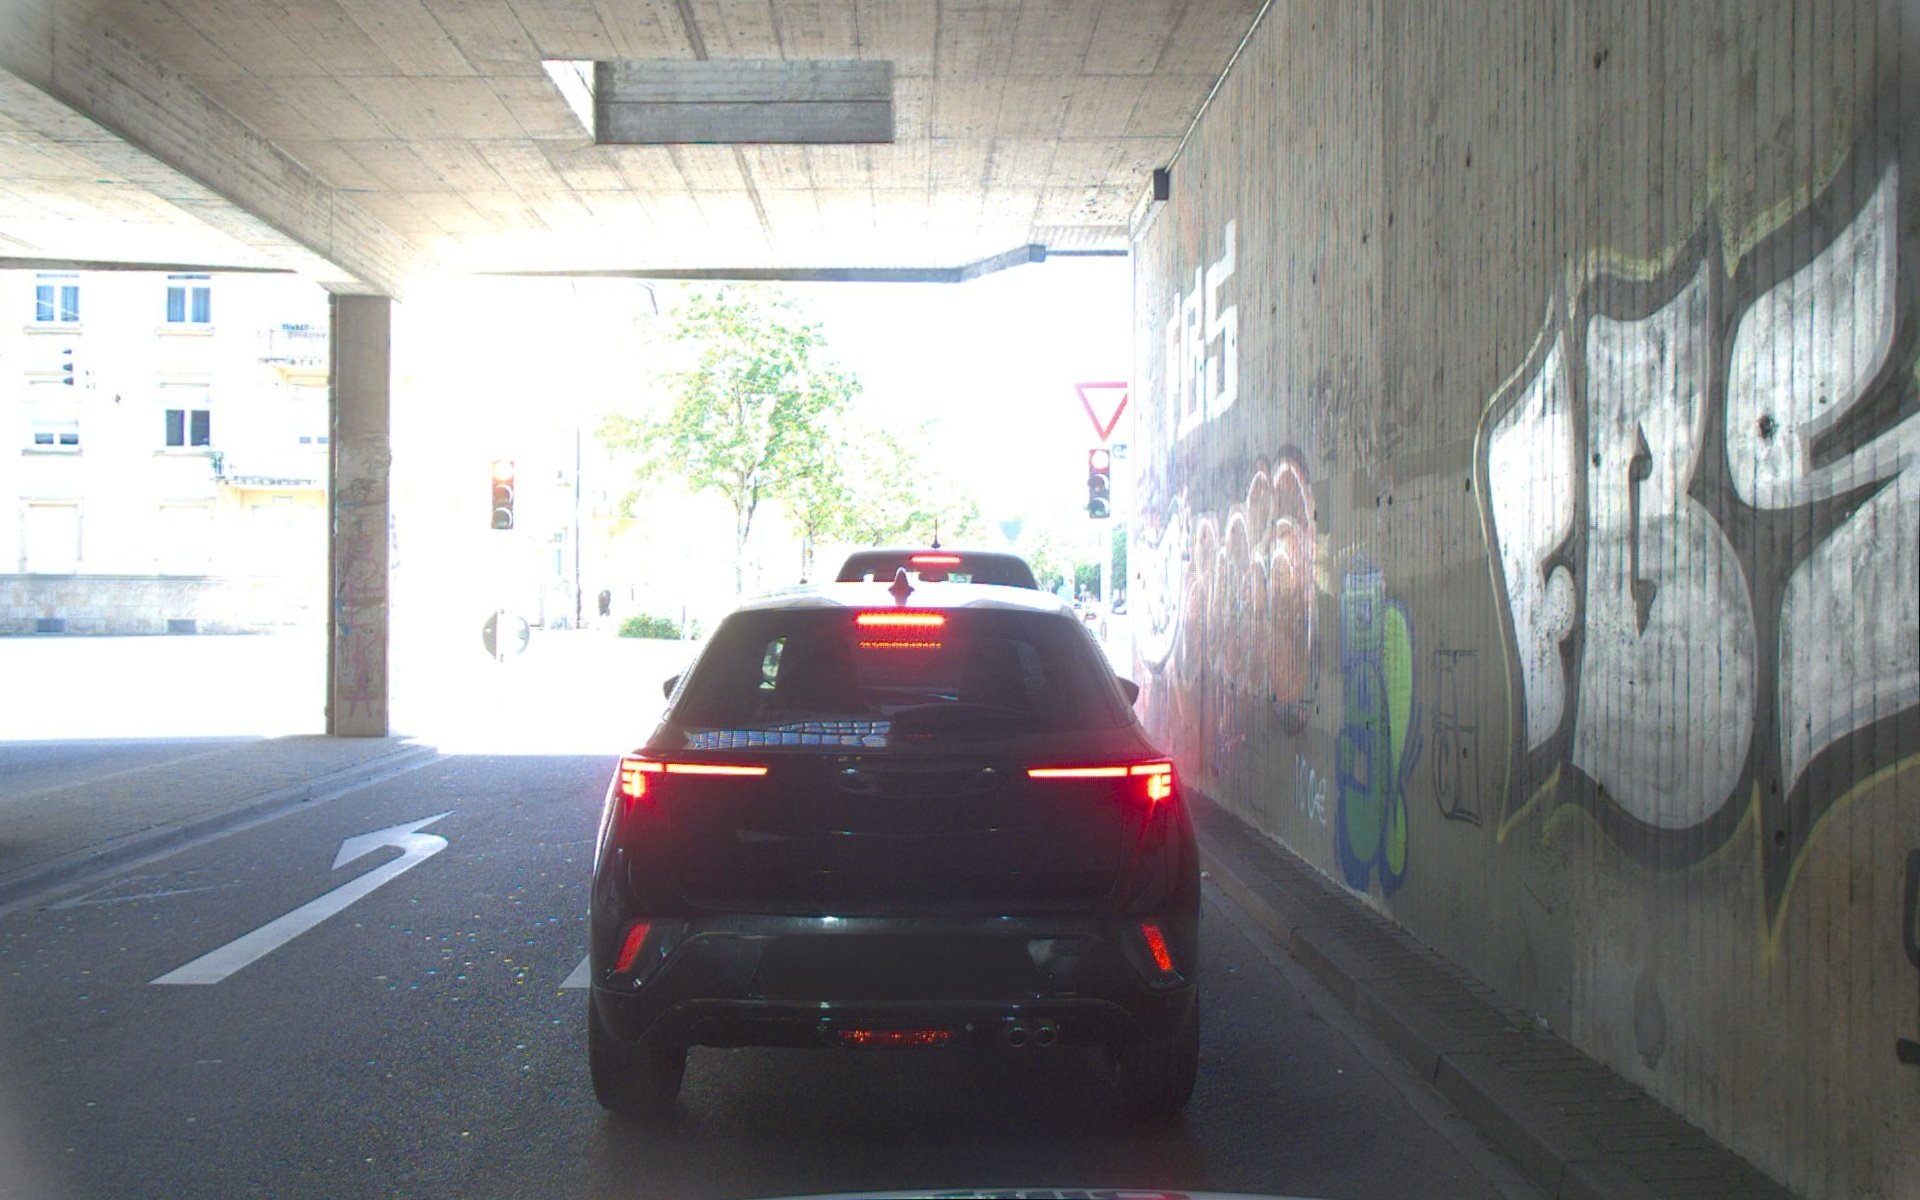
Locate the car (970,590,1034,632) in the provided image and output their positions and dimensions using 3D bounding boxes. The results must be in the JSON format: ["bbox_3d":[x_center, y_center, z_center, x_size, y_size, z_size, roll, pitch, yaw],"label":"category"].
[{"bbox_3d":[1.620,0.444,62.193,1.926,1.523,3.899,0,-1,8],"label":"car"}]

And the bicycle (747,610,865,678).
[{"bbox_3d":[-2.427,0.689,26.316,1.818,1.026,0.745,-1,0,-3],"label":"bicycle"}]

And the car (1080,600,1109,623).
[{"bbox_3d":[10.473,0.907,128.617,1.951,1.691,4.003,1,0,8],"label":"car"}]

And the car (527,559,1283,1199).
[{"bbox_3d":[-0.159,0.676,6.037,1.844,1.565,3.963,0,0,-1],"label":"car"}]

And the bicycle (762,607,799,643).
[{"bbox_3d":[-5.559,0.773,51.399,0.716,1.086,1.690,1,0,9],"label":"bicycle"}]

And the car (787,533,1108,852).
[{"bbox_3d":[-0.100,0.537,11.862,1.906,1.892,3.963,0,0,-1],"label":"car"}]

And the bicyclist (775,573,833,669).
[{"bbox_3d":[-2.469,0.327,26.297,0.852,1.477,0.745,-1,0,-3],"label":"bicyclist"}]

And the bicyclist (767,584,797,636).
[{"bbox_3d":[-5.540,0.307,51.433,0.713,1.609,0.815,1,-1,9],"label":"bicyclist"}]

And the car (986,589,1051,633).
[{"bbox_3d":[2.466,0.486,69.015,2.173,1.749,4.463,0,-1,9],"label":"car"}]

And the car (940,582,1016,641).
[{"bbox_3d":[0.494,0.339,44.156,1.927,1.523,3.896,0,-1,1],"label":"car"}]

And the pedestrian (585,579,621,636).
[{"bbox_3d":[-12.893,0.276,59.735,0.971,2.049,1.089,0,0,7],"label":"pedestrian"}]
